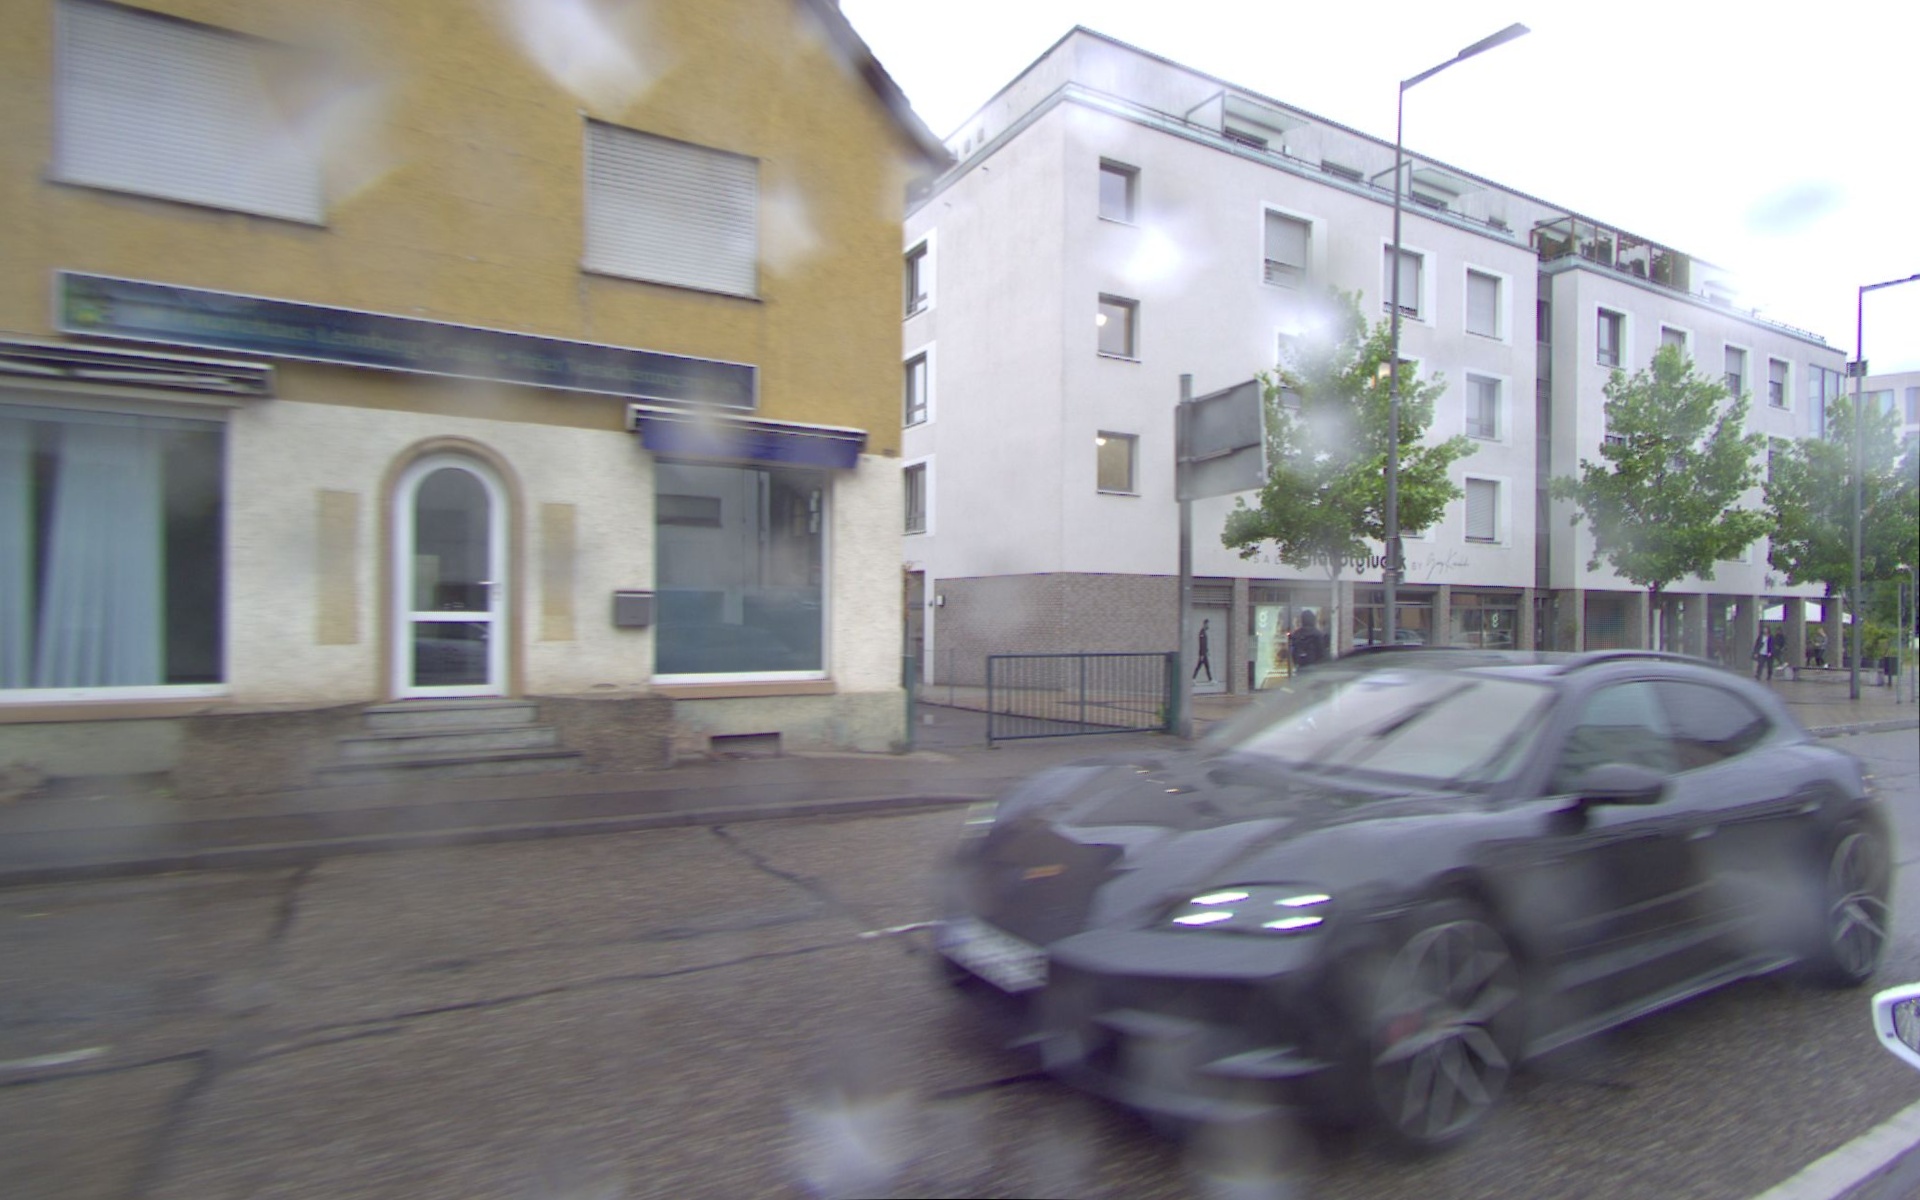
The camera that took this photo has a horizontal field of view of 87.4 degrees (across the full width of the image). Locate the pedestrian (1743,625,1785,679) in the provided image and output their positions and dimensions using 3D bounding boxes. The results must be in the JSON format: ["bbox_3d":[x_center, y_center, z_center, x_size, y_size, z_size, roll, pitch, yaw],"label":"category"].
[{"bbox_3d":[26.899,1.747,33.597,0.991,1.761,0.805,3,-2,-30],"label":"pedestrian"}]

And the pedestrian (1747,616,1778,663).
[{"bbox_3d":[35.581,1.761,44.531,0.928,2.040,0.843,3,-2,-36],"label":"pedestrian"}]

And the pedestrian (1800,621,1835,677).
[{"bbox_3d":[34.335,1.954,40.224,0.759,2.173,0.746,3,-1,-22],"label":"pedestrian"}]

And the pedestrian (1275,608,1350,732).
[{"bbox_3d":[5.405,1.052,15.381,0.791,1.811,0.878,0,-3,41],"label":"pedestrian"}]

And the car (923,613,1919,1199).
[{"bbox_3d":[2.230,0.874,4.300,4.474,1.432,1.759,3,-3,-31],"label":"car"}]
